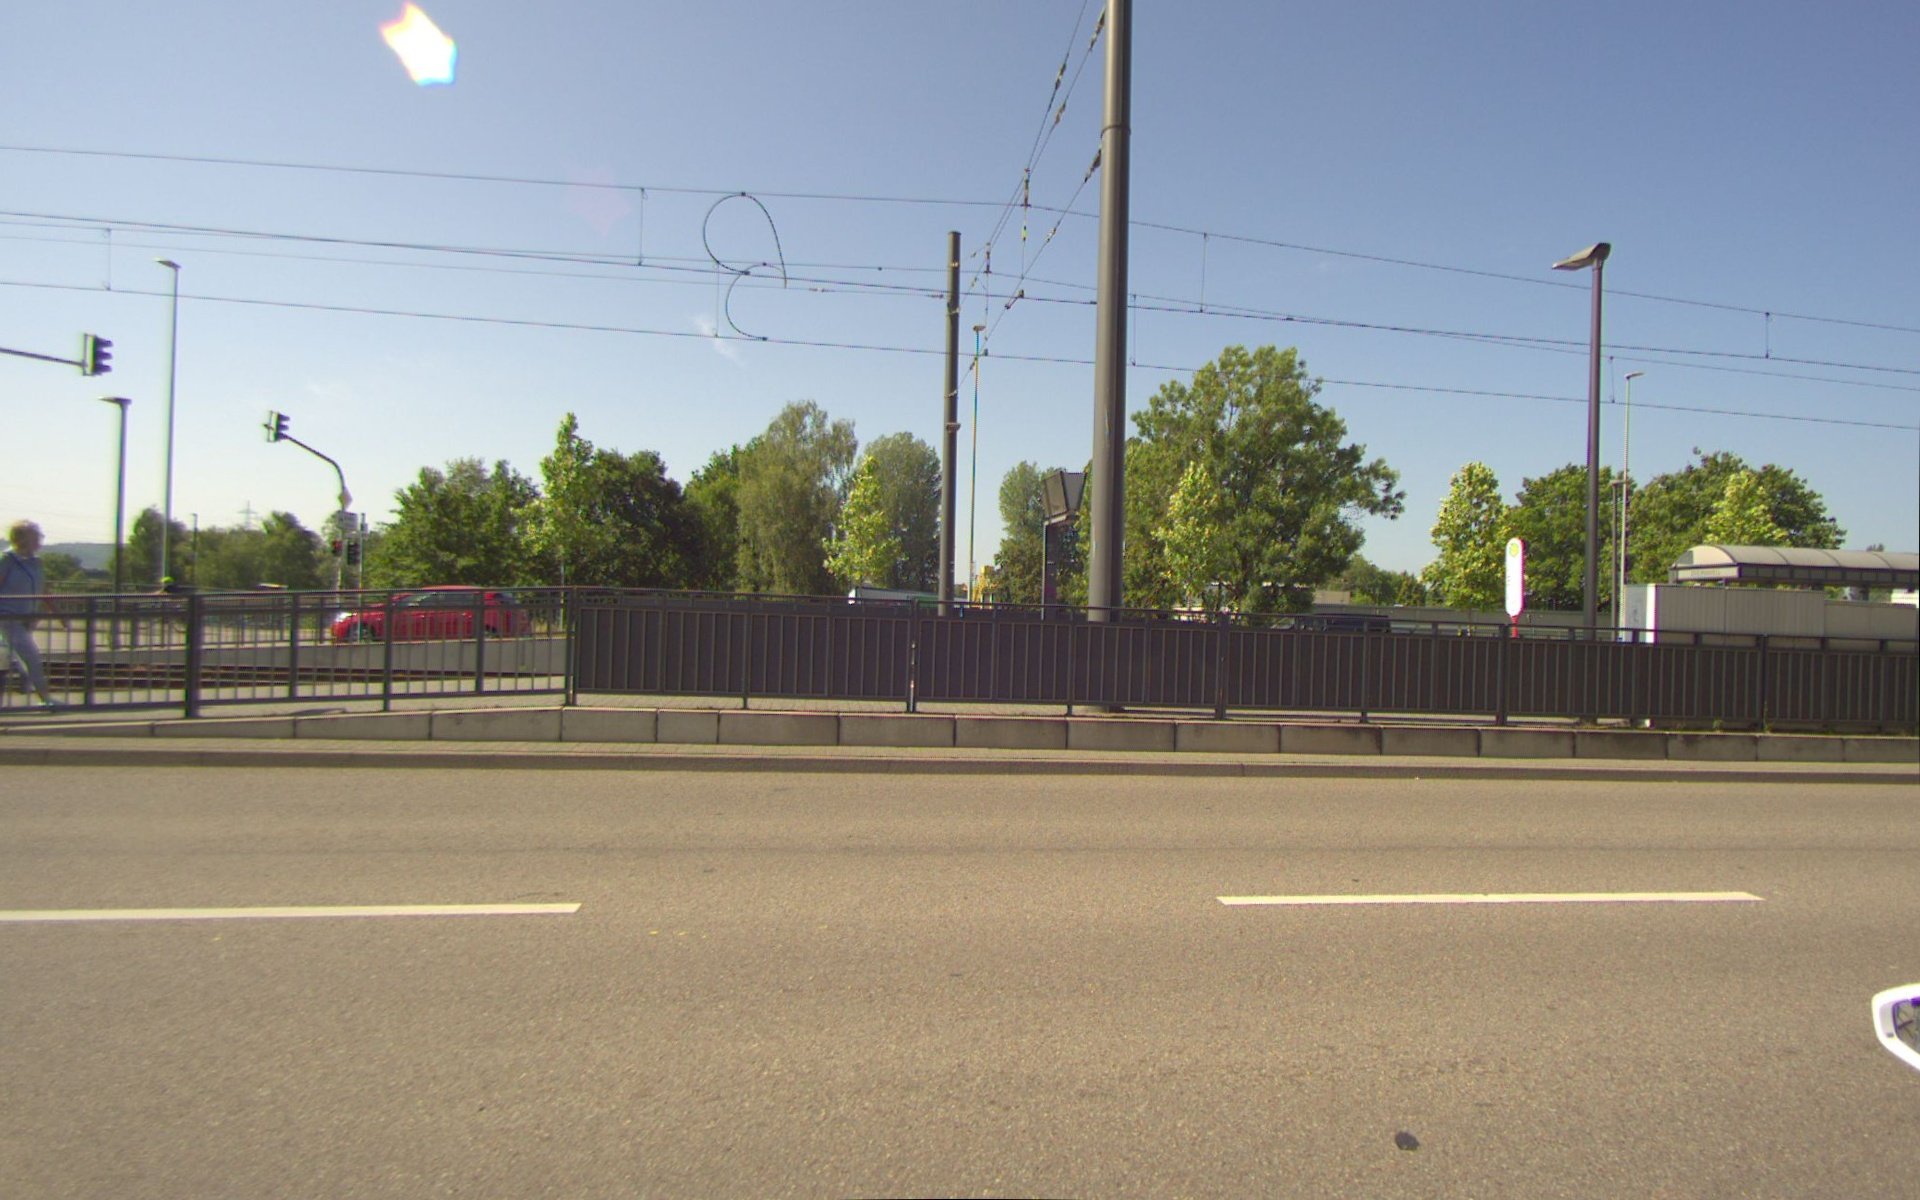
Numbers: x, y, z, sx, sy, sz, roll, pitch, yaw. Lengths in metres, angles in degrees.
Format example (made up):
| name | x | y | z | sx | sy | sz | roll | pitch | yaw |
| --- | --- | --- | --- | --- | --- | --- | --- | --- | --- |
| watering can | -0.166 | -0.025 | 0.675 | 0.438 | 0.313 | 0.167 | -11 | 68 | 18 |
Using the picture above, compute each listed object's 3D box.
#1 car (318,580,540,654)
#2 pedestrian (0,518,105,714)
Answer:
| name | x | y | z | sx | sy | sz | roll | pitch | yaw |
| --- | --- | --- | --- | --- | --- | --- | --- | --- | --- |
| car | -11.566 | 0.358 | 22.121 | 3.927 | 1.464 | 1.744 | 2 | 0 | -9 |
| pedestrian | -7.824 | 0.111 | 8.222 | 0.760 | 1.531 | 1.008 | 2 | 1 | 4 |
